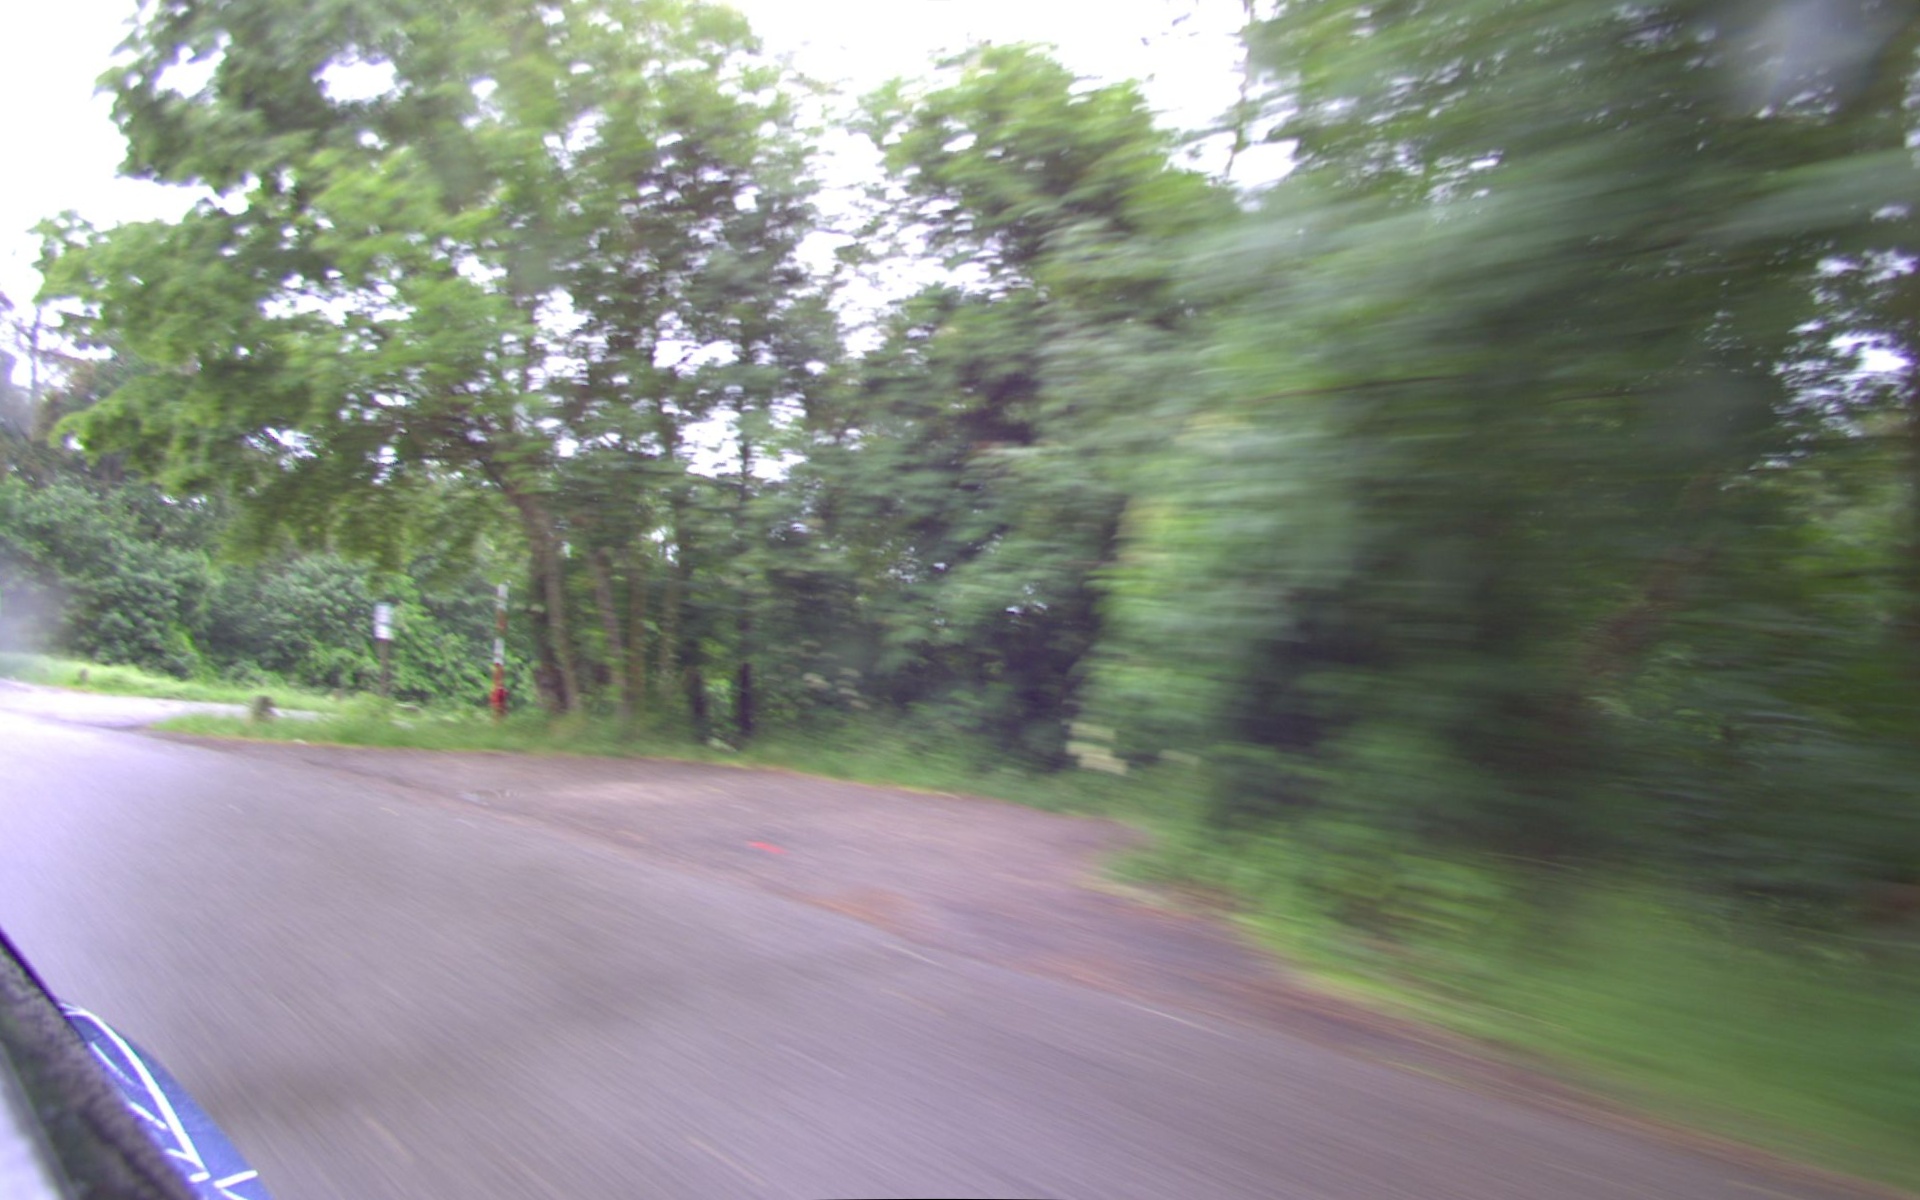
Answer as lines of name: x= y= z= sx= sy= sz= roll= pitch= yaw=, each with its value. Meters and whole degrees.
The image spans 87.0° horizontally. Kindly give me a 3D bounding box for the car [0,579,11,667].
car: x=-25.844 y=0.817 z=24.556 sx=6.024 sy=2.718 sz=2.257 roll=-2 pitch=-7 yaw=30
